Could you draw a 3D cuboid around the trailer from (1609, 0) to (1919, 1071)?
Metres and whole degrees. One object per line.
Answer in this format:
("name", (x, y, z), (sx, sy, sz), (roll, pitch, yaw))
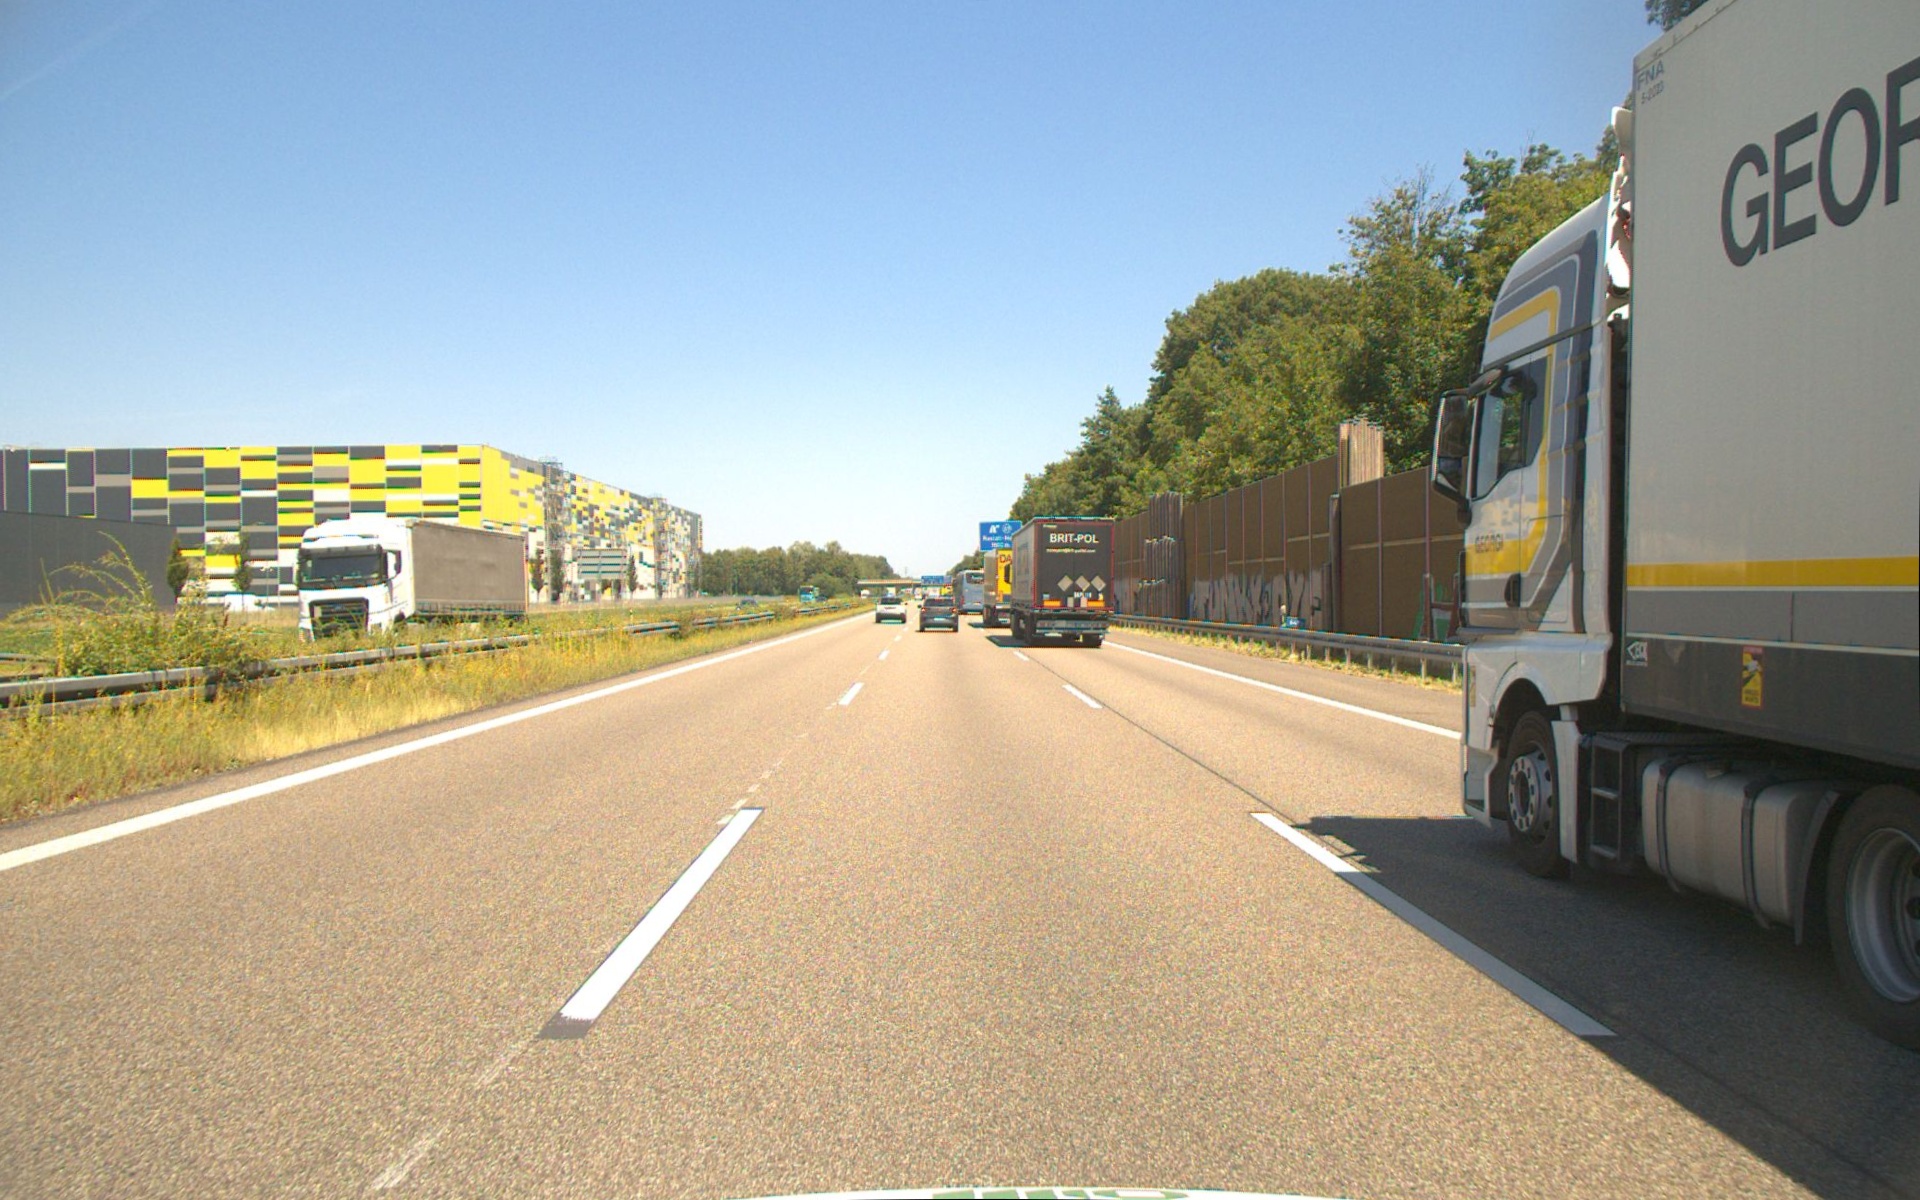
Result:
("trailer", (4.716, -0.621, 1.223), (2.933, 4.364, 13.414), (1, 0, -1))

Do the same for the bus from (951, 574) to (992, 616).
("bus", (0.922, -0.447, 140.502), (3.001, 3.385, 8.270), (-1, 0, -2))

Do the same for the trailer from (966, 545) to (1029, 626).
("trailer", (1.897, -0.756, 88.417), (2.777, 4.023, 11.680), (0, 0, -1))

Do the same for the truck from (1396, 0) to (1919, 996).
("truck", (4.565, -0.582, 8.944), (2.942, 4.197, 5.251), (0, 0, -1))

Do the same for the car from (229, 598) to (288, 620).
("car", (-75.589, 0.929, 178.230), (5.541, 2.216, 2.084), (-1, 0, -34))

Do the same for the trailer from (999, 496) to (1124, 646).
("trailer", (3.308, -0.874, 58.375), (3.043, 4.585, 14.890), (1, 0, -2))

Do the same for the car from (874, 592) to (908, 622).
("car", (-4.031, 0.395, 96.777), (1.953, 1.758, 4.129), (0, 0, -2))

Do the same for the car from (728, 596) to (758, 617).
("car", (-19.288, 0.574, 147.118), (1.953, 1.709, 5.550), (-2, -1, -1))

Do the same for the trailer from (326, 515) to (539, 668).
("trailer", (-17.564, -0.227, 56.431), (3.131, 4.500, 13.322), (-1, 0, -1))

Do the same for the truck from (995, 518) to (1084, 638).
("truck", (3.068, -0.815, 65.415), (3.025, 4.518, 6.050), (0, 0, -2))

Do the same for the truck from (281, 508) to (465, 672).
("truck", (-17.439, -0.263, 49.680), (3.097, 4.503, 6.979), (-1, 0, -1))

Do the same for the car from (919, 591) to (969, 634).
("car", (-0.777, 0.544, 75.359), (2.171, 1.821, 5.392), (-1, 0, -1))

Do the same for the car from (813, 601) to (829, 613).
("car", (-20.896, 1.047, 249.203), (1.953, 1.668, 5.662), (-2, 0, -1))
